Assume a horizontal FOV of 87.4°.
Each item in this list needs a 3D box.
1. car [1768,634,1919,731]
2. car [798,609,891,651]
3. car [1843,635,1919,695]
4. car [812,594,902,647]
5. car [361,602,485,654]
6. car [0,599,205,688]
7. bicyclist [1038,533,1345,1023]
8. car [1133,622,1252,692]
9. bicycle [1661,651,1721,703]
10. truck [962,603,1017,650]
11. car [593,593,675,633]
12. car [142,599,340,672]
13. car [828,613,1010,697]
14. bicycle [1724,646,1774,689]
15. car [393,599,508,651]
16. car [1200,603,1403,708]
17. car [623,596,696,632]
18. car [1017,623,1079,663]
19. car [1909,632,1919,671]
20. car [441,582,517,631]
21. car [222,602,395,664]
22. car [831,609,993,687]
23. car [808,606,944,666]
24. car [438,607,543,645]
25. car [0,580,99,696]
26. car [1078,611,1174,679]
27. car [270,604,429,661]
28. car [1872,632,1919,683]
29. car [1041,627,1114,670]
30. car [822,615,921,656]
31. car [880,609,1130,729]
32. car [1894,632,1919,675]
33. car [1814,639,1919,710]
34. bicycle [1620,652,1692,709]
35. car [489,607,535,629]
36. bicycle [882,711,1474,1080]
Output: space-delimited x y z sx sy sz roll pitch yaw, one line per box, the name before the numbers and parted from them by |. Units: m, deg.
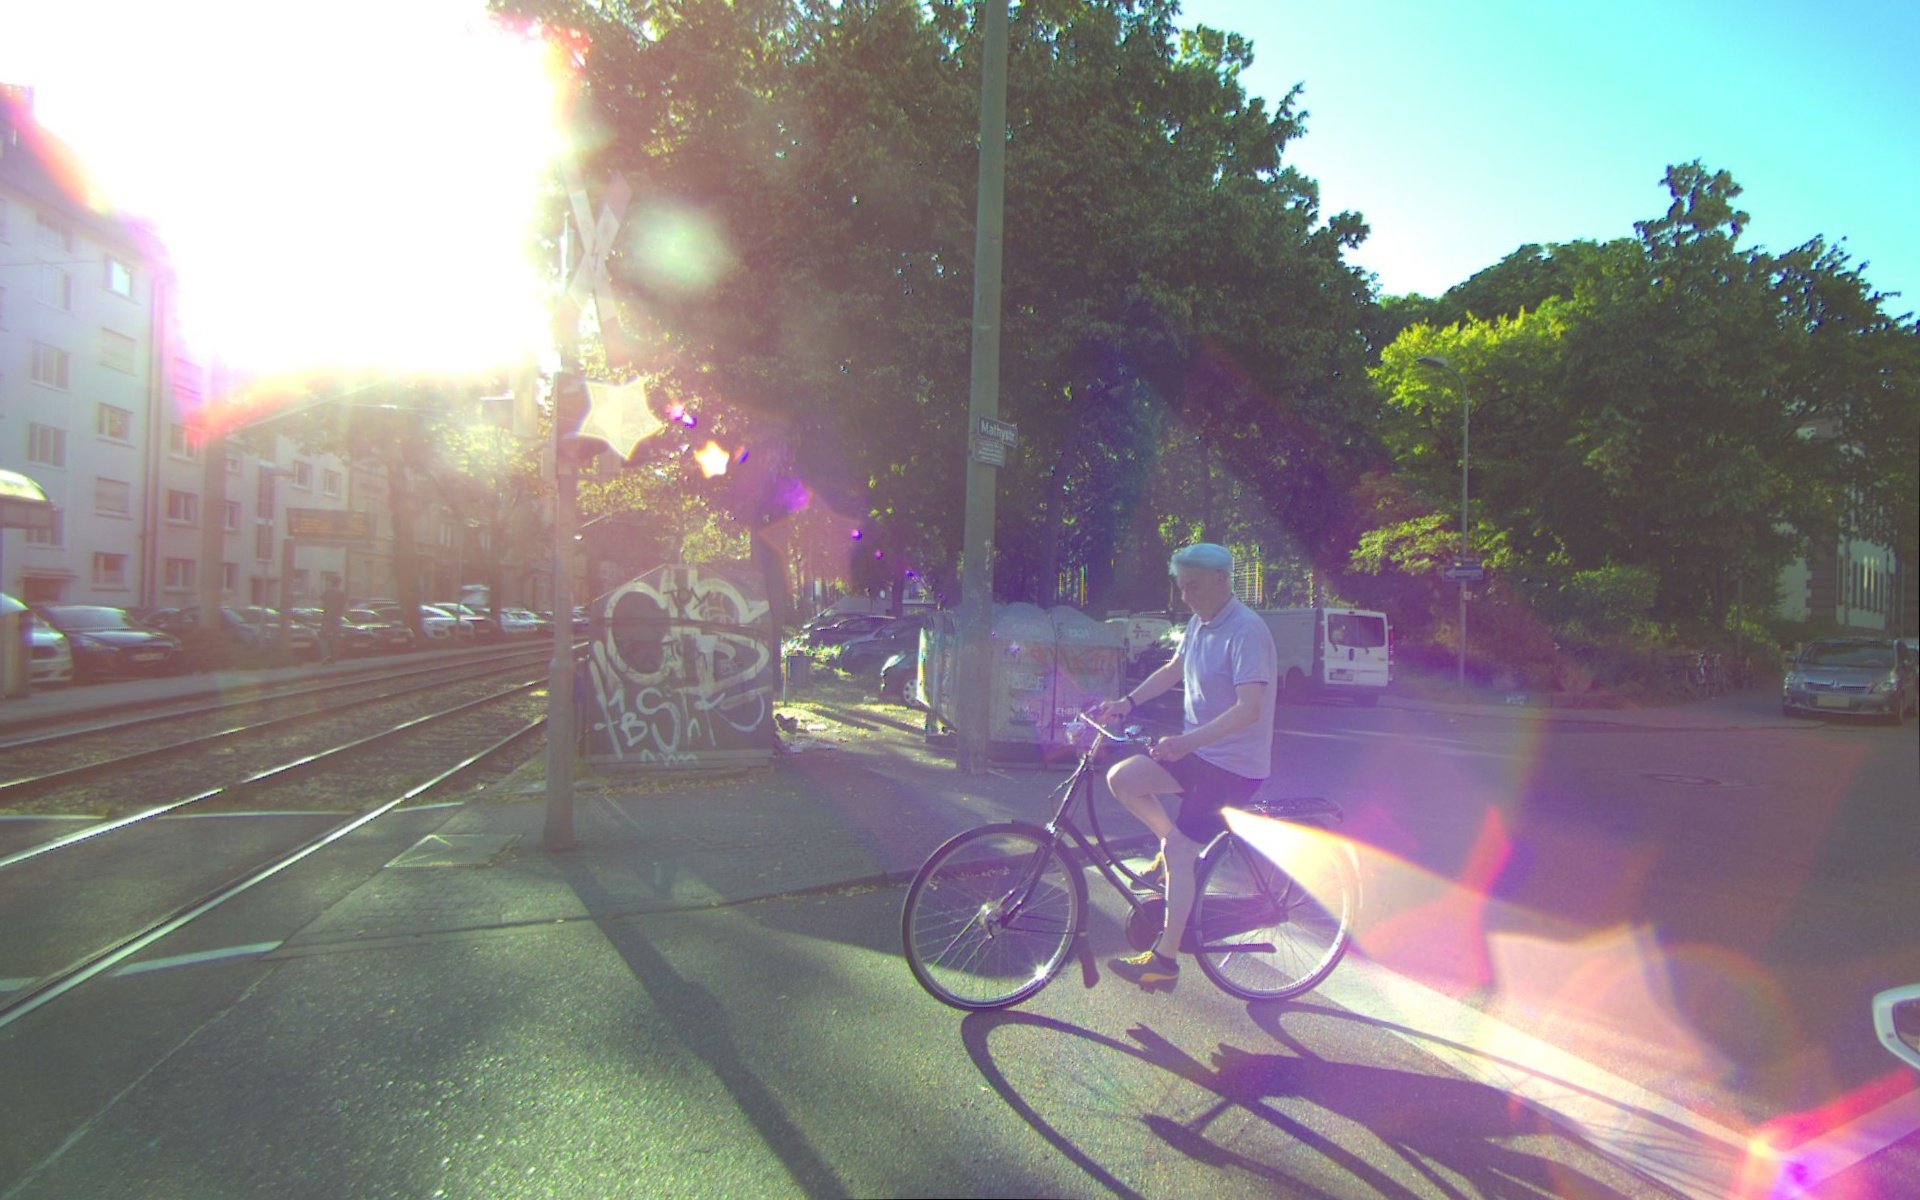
car | 18.280 1.606 20.669 4.259 1.636 1.809 2 2 -42
car | -5.223 1.388 45.665 3.752 1.607 1.739 4 -2 12
car | 27.073 1.843 29.005 3.901 1.498 1.809 2 2 -42
car | -5.605 1.115 54.663 4.414 2.508 1.819 3 -2 23
car | -19.072 1.002 35.659 4.165 1.673 1.854 -3 -1 29
car | -16.419 0.814 18.666 4.123 1.456 1.701 -3 -1 17
bicyclist | 0.838 0.599 3.768 0.860 1.609 0.698 2 -1 -17
car | 6.061 1.458 26.621 1.550 1.659 3.701 1 -1 -14
bicycle | 16.905 1.752 23.208 2.608 1.116 0.591 2 -1 -42
truck | 1.531 1.387 54.094 2.330 2.383 4.379 1 -1 -7
car | -23.089 0.933 71.102 5.167 2.606 2.273 -3 -1 21
car | -17.151 0.840 23.988 4.157 1.528 1.608 -3 -1 17
car | -0.858 1.151 21.779 3.546 1.466 1.608 4 0 16
bicycle | 21.677 1.829 27.575 2.606 1.116 0.591 2 -1 -41
car | -19.365 0.939 38.159 4.165 1.772 1.854 -3 -1 29
car | 7.290 1.130 22.040 1.918 2.030 4.644 1 -1 -16
car | -23.839 1.085 79.700 5.167 2.606 2.273 -3 -1 21
car | 3.540 1.732 40.813 1.548 1.487 3.593 1 -1 -11
car | 40.432 2.166 41.158 3.901 1.520 1.809 2 2 -42
car | -30.300 0.425 63.531 2.512 2.926 5.477 0 0 -5
car | -17.703 0.899 27.296 4.157 1.478 1.608 -3 -1 17
car | -1.159 1.137 24.658 3.546 1.583 1.608 4 0 16
car | -2.568 1.109 30.977 3.752 1.516 1.739 4 -2 12
car | -20.928 1.157 44.777 4.159 1.492 1.857 -3 -1 21
car | -15.584 0.644 15.651 4.161 1.674 1.606 -3 -1 23
car | 5.046 1.340 31.083 1.549 1.929 3.892 1 -1 -13
car | -18.074 0.966 29.751 4.157 1.478 1.608 -3 -1 17
car | 31.686 1.907 33.182 3.901 1.520 1.809 2 2 -42
car | 4.162 1.710 36.014 1.548 1.404 3.593 1 -1 -11
car | -3.713 1.508 42.620 3.752 1.440 1.739 4 -2 12
car | 0.762 1.053 16.171 3.661 1.540 1.608 4 0 16
car | 36.164 2.023 37.233 3.901 1.520 1.809 2 2 -42
car | 23.036 1.807 25.223 3.901 1.466 1.809 2 2 -42
bicycle | 14.874 1.690 21.432 2.606 1.116 0.592 2 -1 -40
car | -31.141 1.239 69.898 1.683 1.465 3.997 0 -1 -5
bicycle | 0.816 0.989 3.769 2.090 1.068 0.698 2 -1 -18
